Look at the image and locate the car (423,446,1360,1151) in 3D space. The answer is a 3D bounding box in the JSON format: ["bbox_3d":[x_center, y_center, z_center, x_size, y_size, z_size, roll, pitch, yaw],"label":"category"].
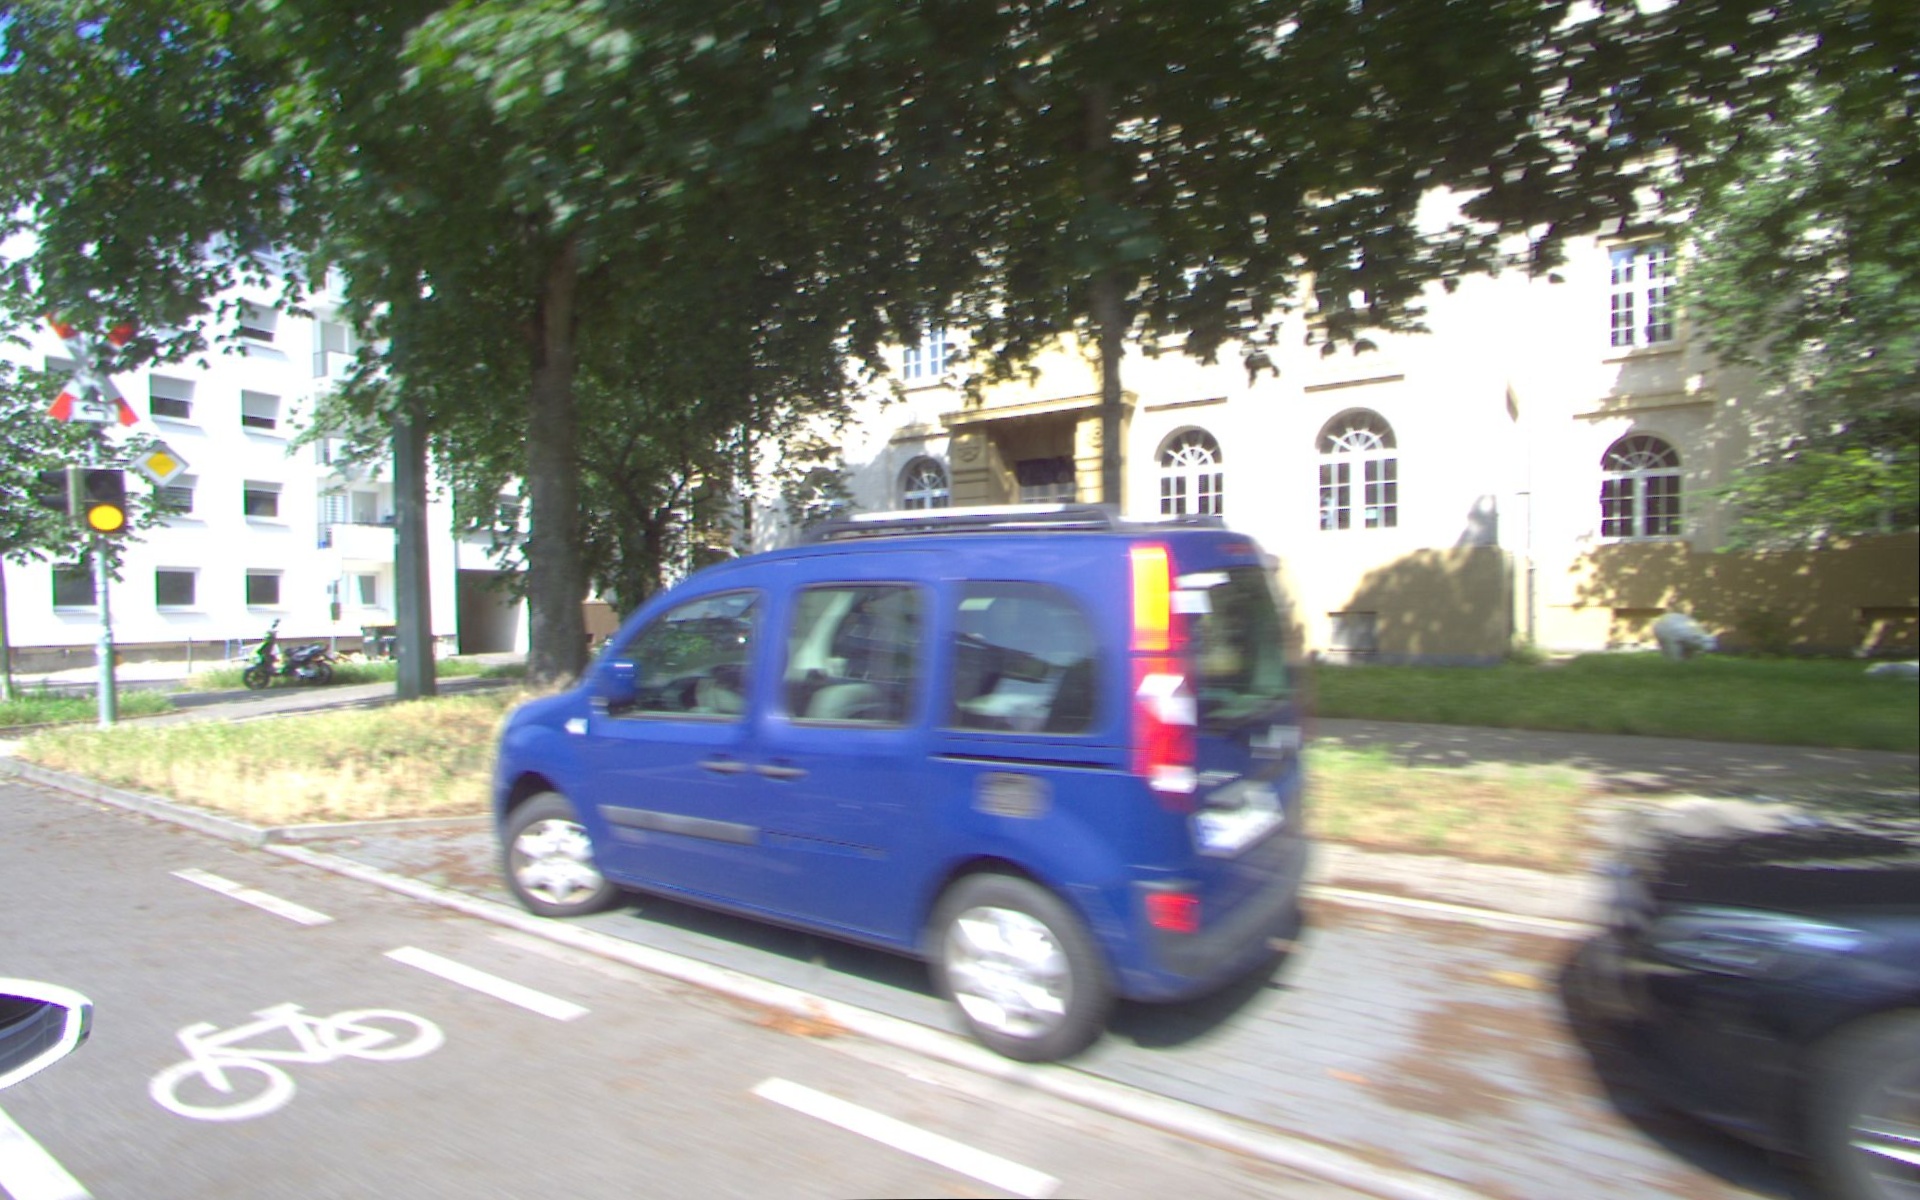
[{"bbox_3d":[-0.517,0.524,4.658,4.127,1.922,1.816,0,2,35],"label":"car"}]

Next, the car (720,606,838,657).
[{"bbox_3d":[-6.020,0.994,33.102,3.954,1.560,1.797,-1,0,41],"label":"car"}]

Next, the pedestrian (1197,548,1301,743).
[{"bbox_3d":[2.700,0.403,9.331,0.756,1.719,0.743,0,1,32],"label":"pedestrian"}]

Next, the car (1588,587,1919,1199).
[{"bbox_3d":[4.021,0.726,1.945,4.728,1.462,1.912,0,3,33],"label":"car"}]

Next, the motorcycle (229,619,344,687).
[{"bbox_3d":[-13.467,1.052,20.055,1.811,1.233,0.571,-2,5,0],"label":"motorcycle"}]

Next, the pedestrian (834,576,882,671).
[{"bbox_3d":[-1.771,0.402,17.407,0.532,1.617,0.630,-1,1,31],"label":"pedestrian"}]

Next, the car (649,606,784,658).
[{"bbox_3d":[-7.472,0.953,30.693,3.941,1.478,1.736,-1,0,31],"label":"car"}]
